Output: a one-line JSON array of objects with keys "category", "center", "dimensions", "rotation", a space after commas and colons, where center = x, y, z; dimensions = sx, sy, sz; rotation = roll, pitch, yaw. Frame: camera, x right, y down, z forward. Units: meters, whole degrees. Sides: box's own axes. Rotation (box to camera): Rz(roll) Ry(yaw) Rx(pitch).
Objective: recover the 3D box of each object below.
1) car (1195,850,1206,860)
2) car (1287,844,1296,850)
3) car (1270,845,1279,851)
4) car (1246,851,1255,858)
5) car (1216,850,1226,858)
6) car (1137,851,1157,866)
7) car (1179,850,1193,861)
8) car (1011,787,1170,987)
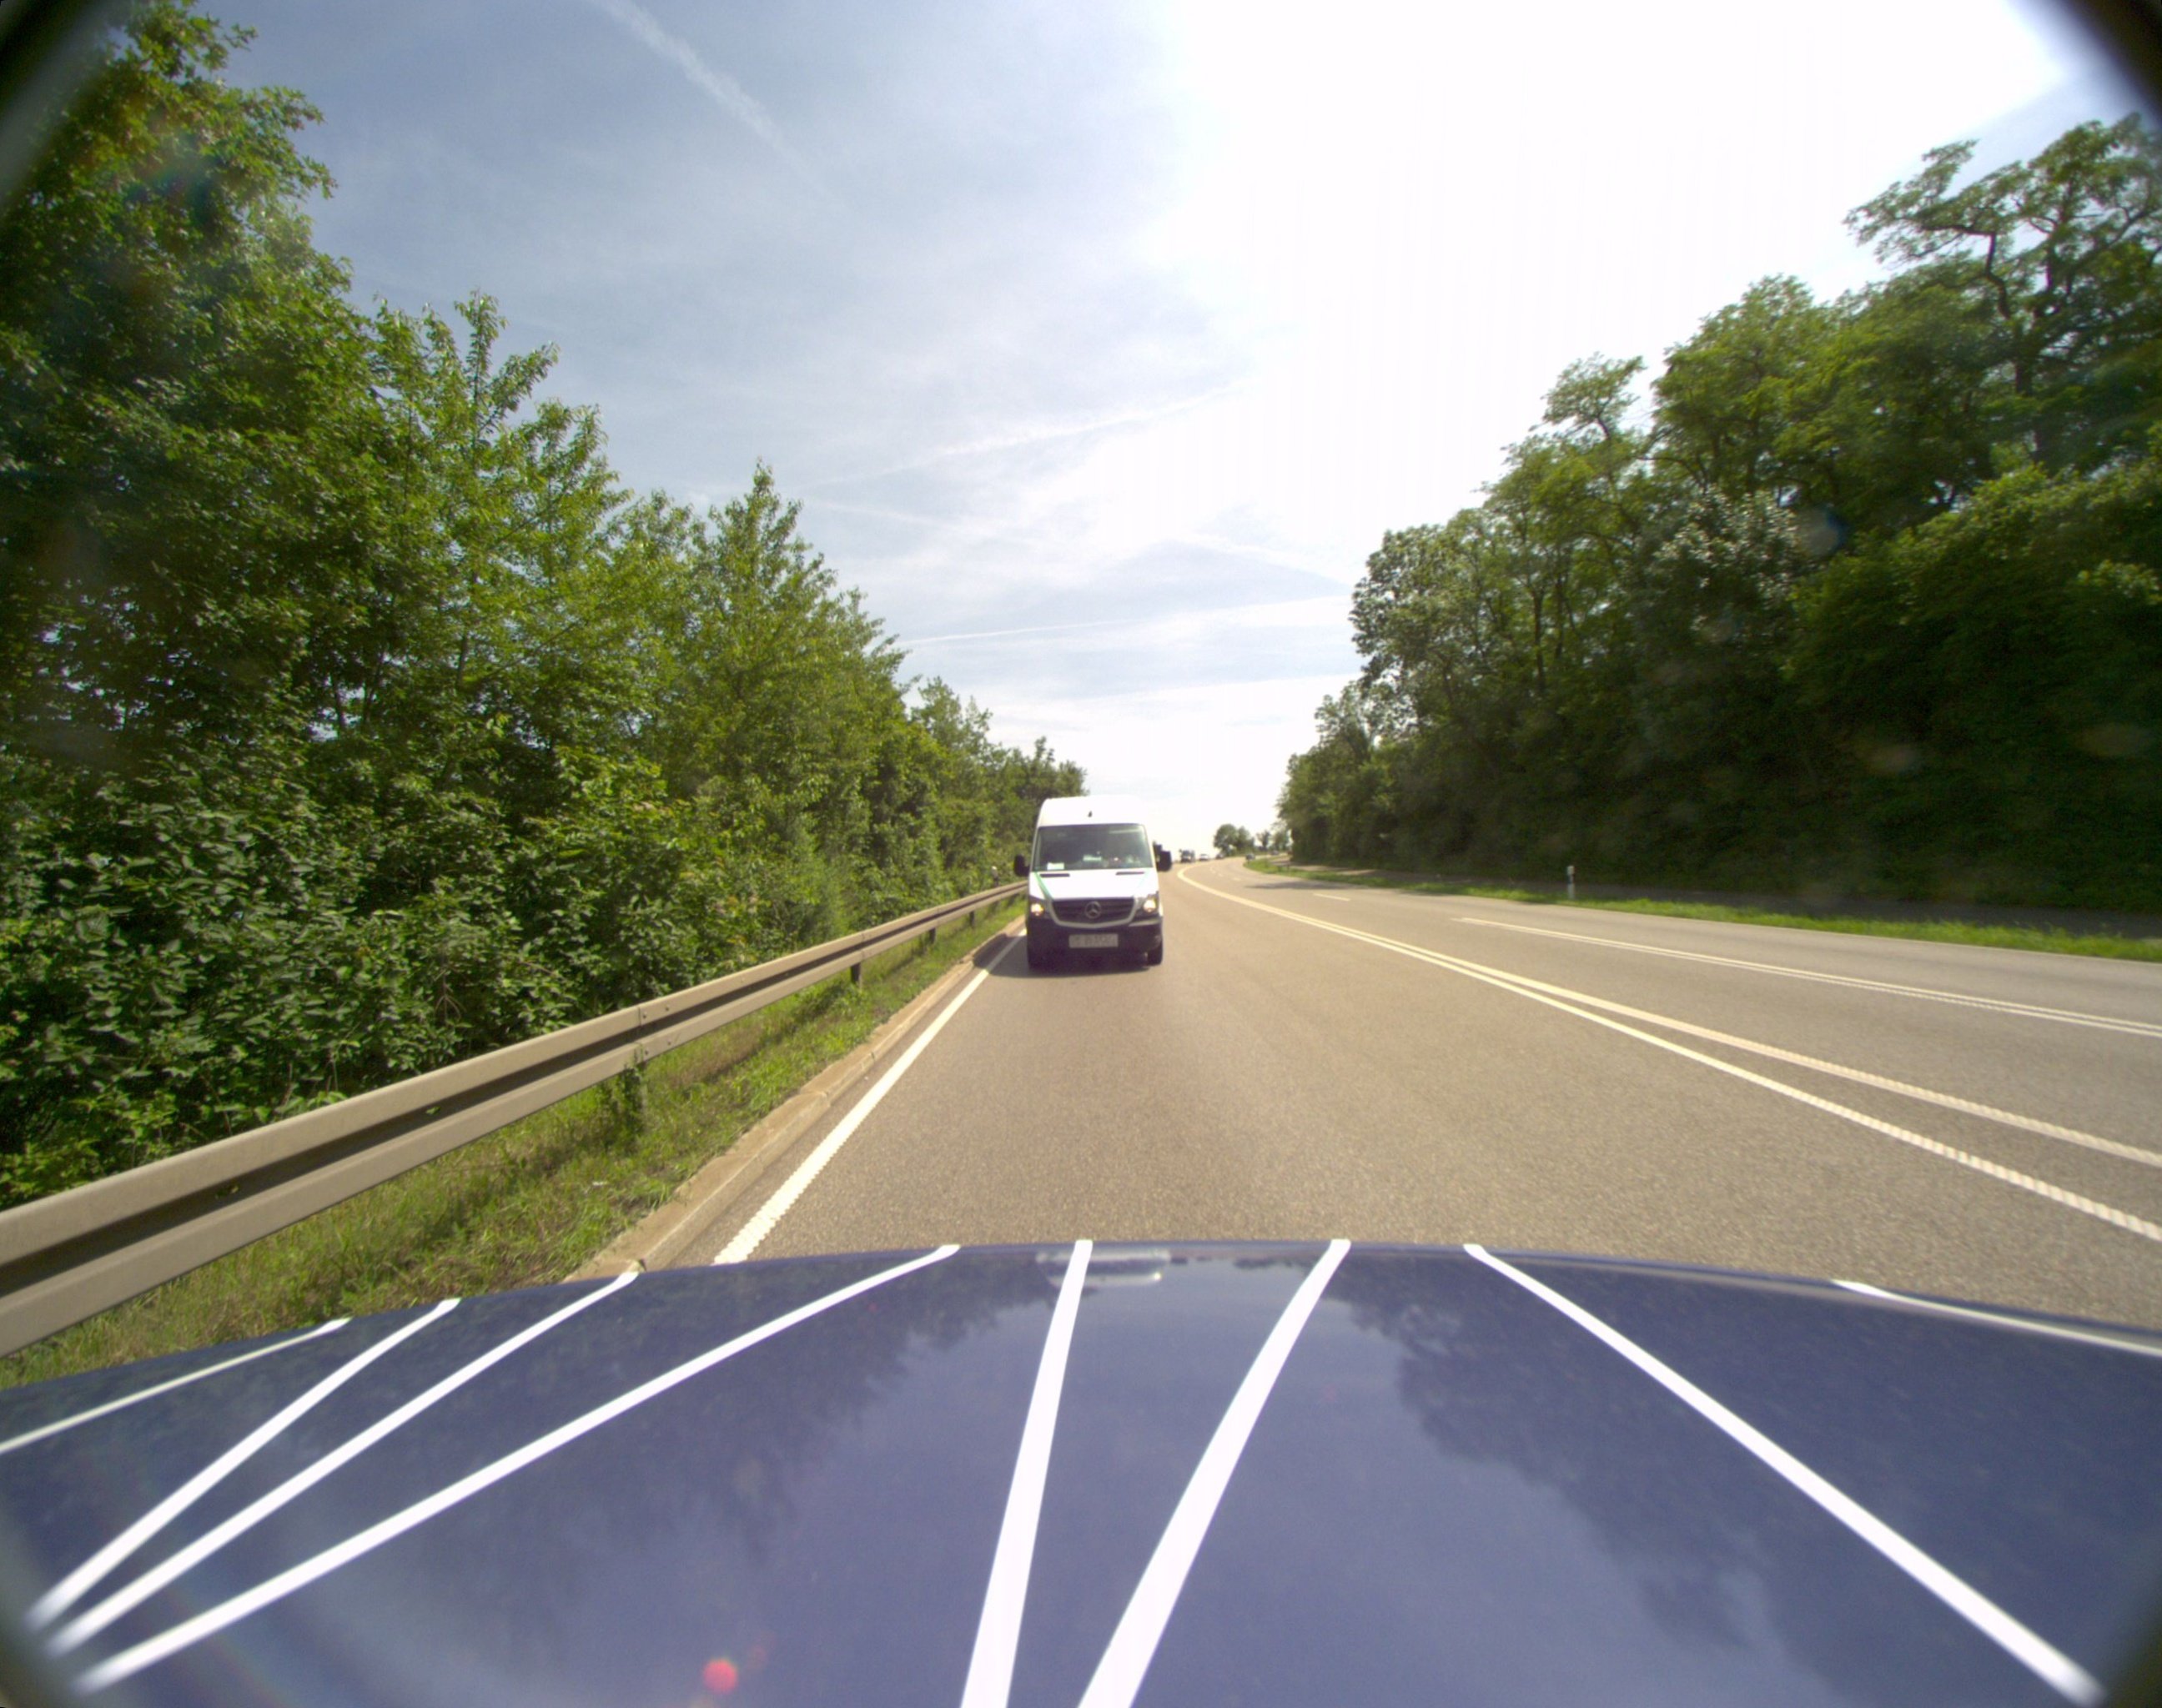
[{"category": "car", "center": [26.160, 0.256, 166.039], "dimensions": [1.849, 2.002, 3.876], "rotation": [-2, 1, 18]}, {"category": "car", "center": [61.066, -1.938, 220.234], "dimensions": [1.996, 1.665, 4.005], "rotation": [-2, 1, 20]}, {"category": "car", "center": [55.297, -1.678, 217.224], "dimensions": [1.957, 1.717, 3.916], "rotation": [-2, 0, 20]}, {"category": "car", "center": [36.904, 0.071, 164.944], "dimensions": [1.805, 1.379, 3.874], "rotation": [-2, 0, 13]}, {"category": "car", "center": [34.005, 0.079, 184.352], "dimensions": [1.764, 1.849, 3.814], "rotation": [-2, 1, 20]}, {"category": "car", "center": [8.258, 0.559, 94.822], "dimensions": [1.997, 1.718, 4.003], "rotation": [-2, 1, 11]}, {"category": "car", "center": [19.899, 0.277, 143.613], "dimensions": [1.996, 2.002, 4.005], "rotation": [-2, 0, 16]}, {"category": "car", "center": [0.194, 0.429, 12.349], "dimensions": [1.958, 2.502, 5.267], "rotation": [-2, 0, 2]}]
